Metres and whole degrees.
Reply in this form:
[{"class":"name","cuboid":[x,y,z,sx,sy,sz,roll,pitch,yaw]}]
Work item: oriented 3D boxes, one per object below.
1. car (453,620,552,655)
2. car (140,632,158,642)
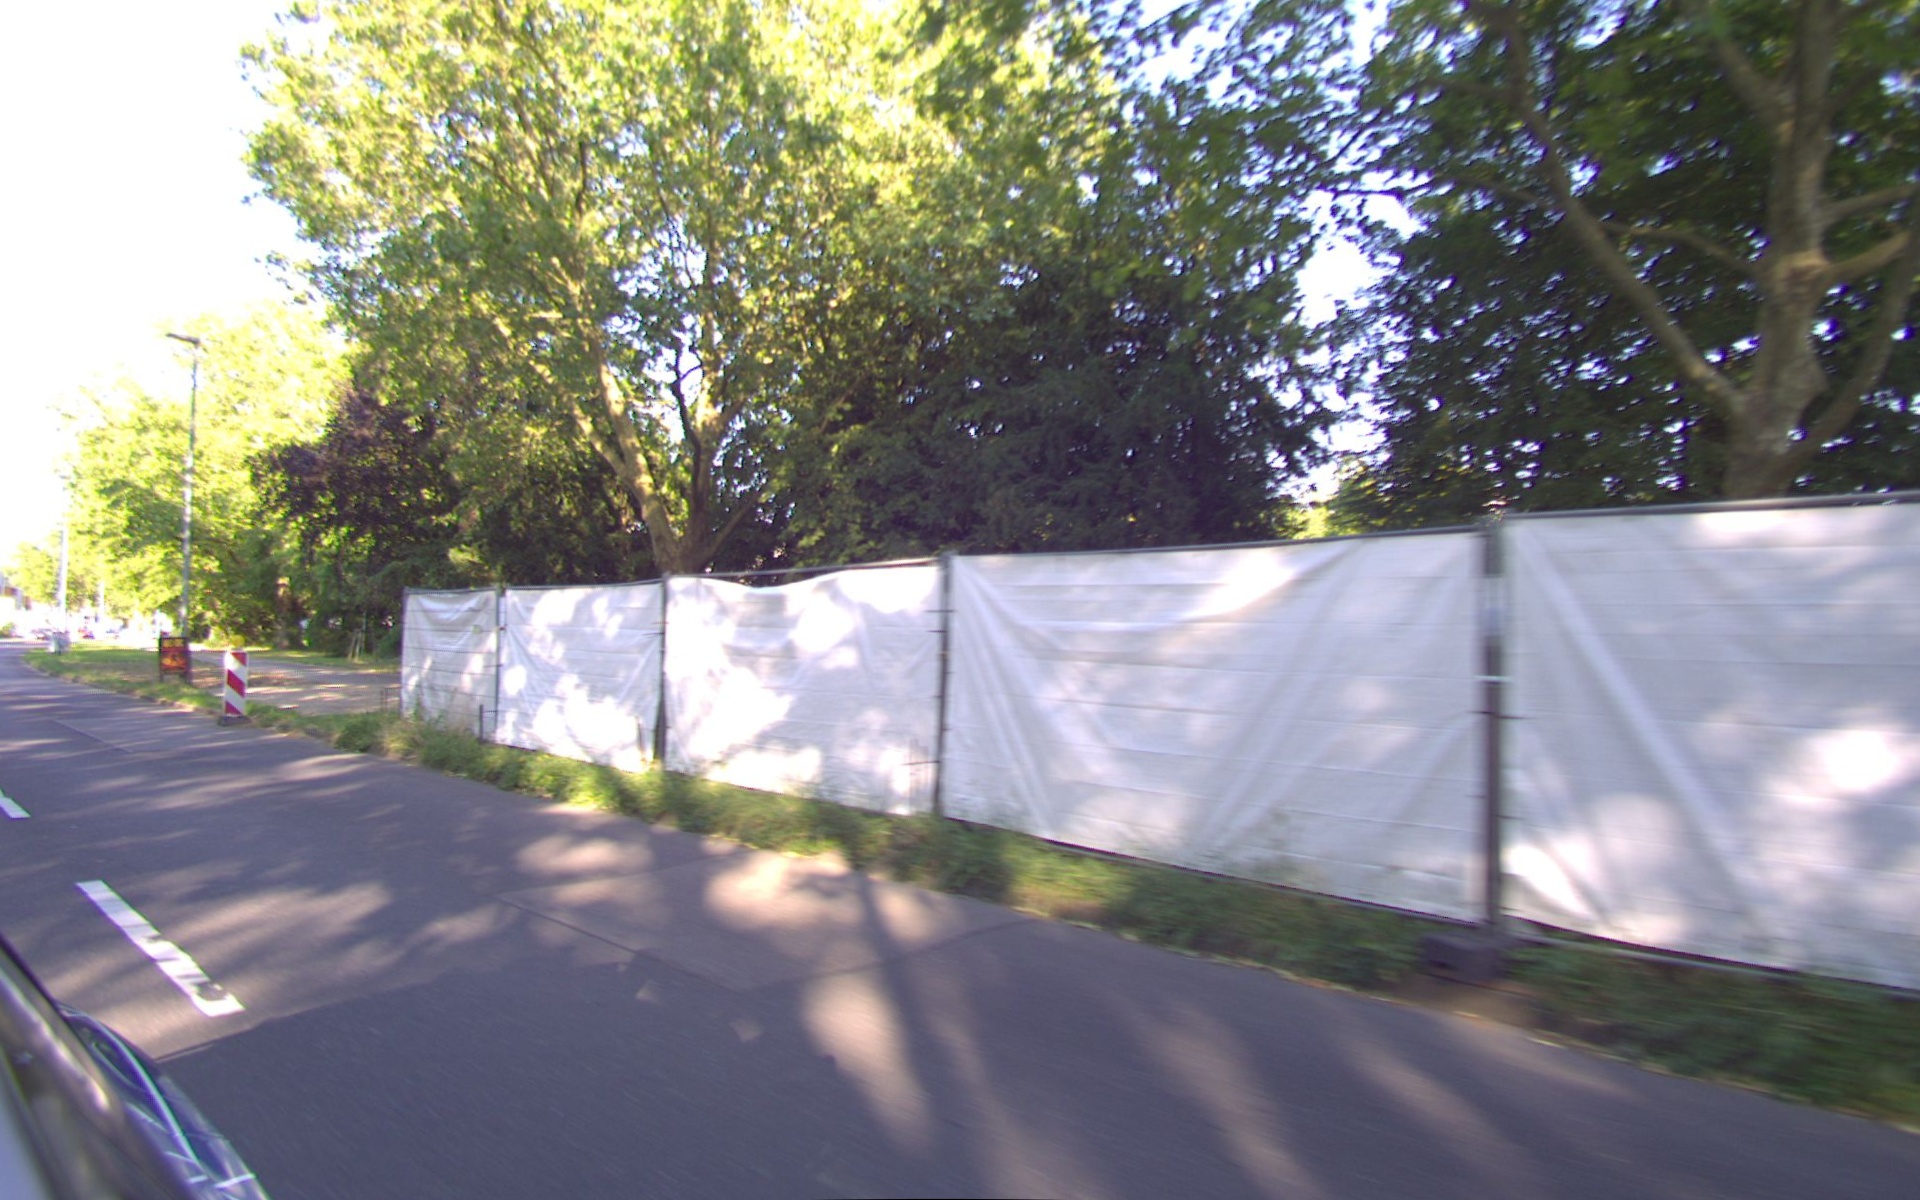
[{"class":"car","cuboid":[-22.220,1.831,49.253,1.929,1.613,3.944,0,-3,42]},{"class":"car","cuboid":[-123.445,5.601,154.084,1.737,1.495,4.119,0,-2,-33]}]
